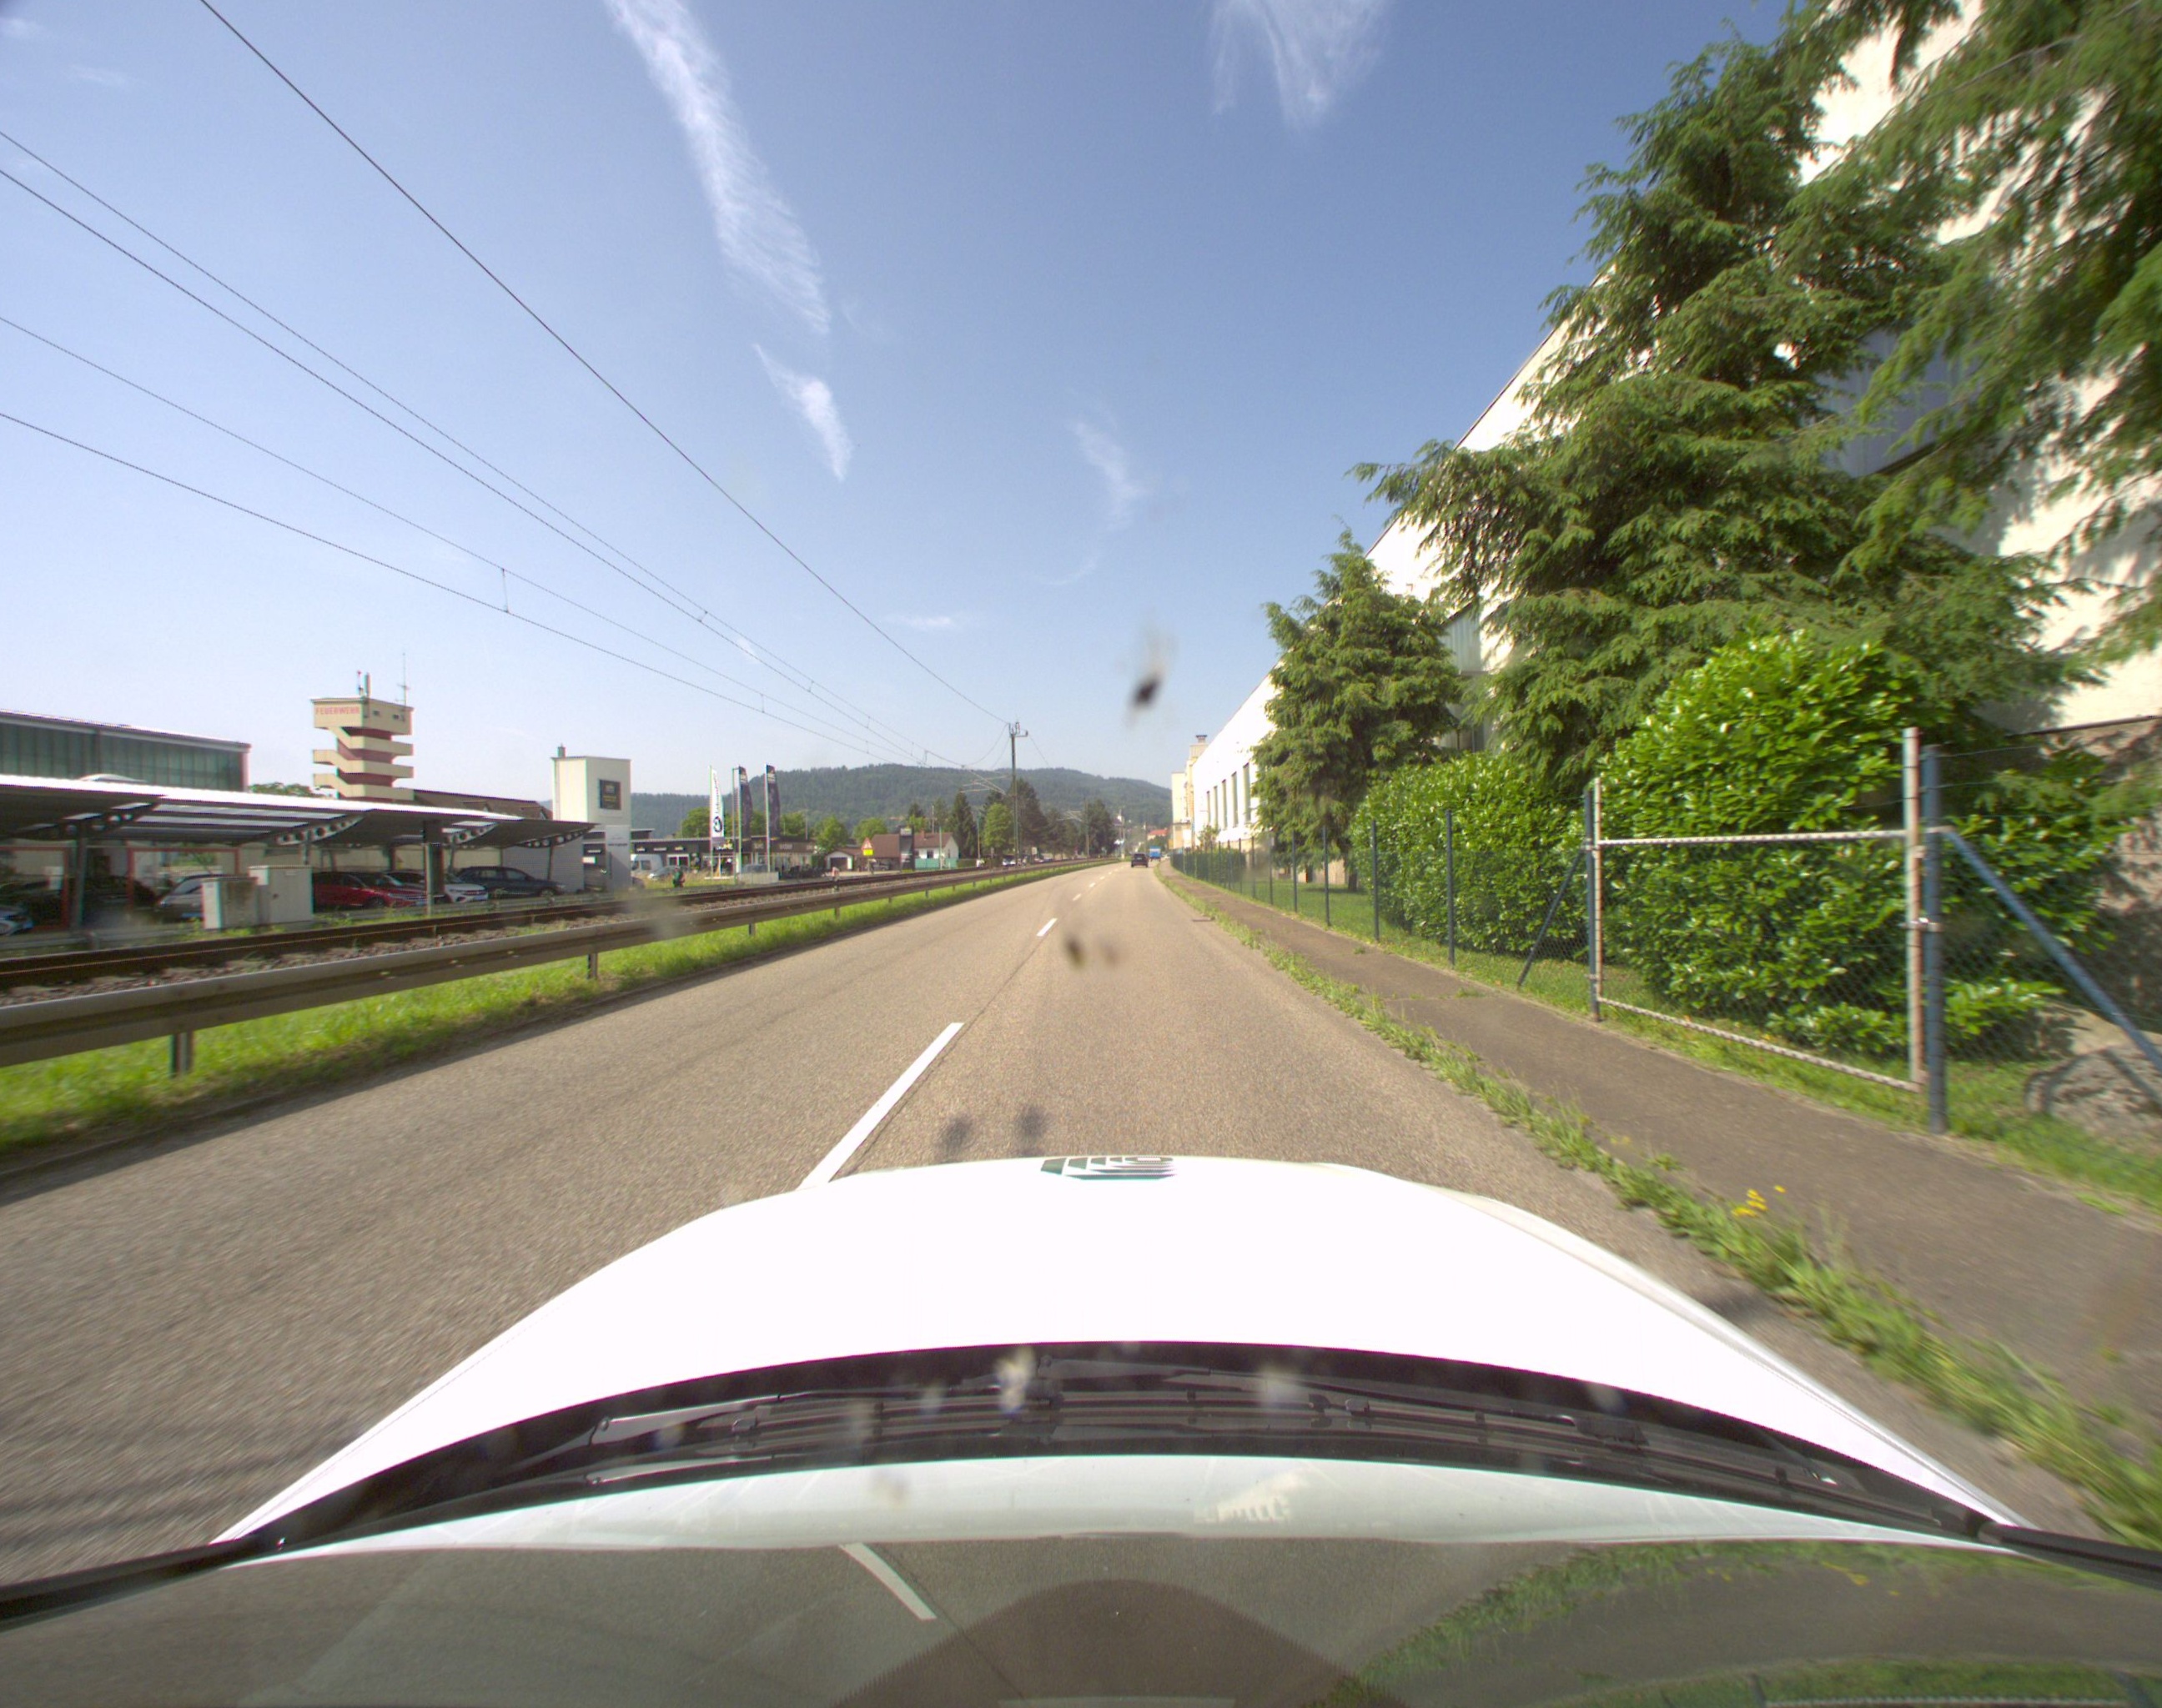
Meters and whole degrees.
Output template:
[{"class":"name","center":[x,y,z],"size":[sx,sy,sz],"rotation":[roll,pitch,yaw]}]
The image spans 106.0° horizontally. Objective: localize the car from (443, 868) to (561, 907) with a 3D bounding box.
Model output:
[{"class":"car","center":[-25.991,1.462,36.631],"size":[1.642,1.622,4.055],"rotation":[1,0,45]}]

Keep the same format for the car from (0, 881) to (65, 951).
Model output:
[{"class":"car","center":[-26.550,1.405,18.311],"size":[4.291,1.528,1.826],"rotation":[2,0,-38]}]

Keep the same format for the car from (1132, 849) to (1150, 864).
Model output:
[{"class":"car","center":[6.703,0.254,91.223],"size":[1.910,1.640,4.006],"rotation":[-1,0,5]}]

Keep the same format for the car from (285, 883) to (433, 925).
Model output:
[{"class":"car","center":[-25.960,1.790,29.349],"size":[3.943,1.325,1.502],"rotation":[1,0,0]}]

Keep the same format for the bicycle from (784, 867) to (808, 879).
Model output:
[{"class":"bicycle","center":[-28.855,1.887,82.473],"size":[2.158,1.130,0.731],"rotation":[-2,-1,3]}]

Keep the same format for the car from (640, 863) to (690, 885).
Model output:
[{"class":"car","center":[-32.565,1.582,63.868],"size":[1.861,1.664,4.000],"rotation":[-2,-2,1]}]

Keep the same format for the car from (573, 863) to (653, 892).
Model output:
[{"class":"car","center":[-27.871,1.436,48.528],"size":[4.013,1.530,1.508],"rotation":[4,-3,-32]}]

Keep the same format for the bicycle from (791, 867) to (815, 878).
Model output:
[{"class":"bicycle","center":[-28.782,1.927,84.292],"size":[2.165,1.130,0.728],"rotation":[-2,-1,-7]}]

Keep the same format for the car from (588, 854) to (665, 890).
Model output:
[{"class":"car","center":[-35.479,1.470,63.809],"size":[2.364,2.633,6.161],"rotation":[-2,-2,1]}]

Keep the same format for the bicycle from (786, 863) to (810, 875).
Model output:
[{"class":"bicycle","center":[-29.016,1.544,83.411],"size":[2.165,1.130,0.728],"rotation":[-2,-1,-7]}]

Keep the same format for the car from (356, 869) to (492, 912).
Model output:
[{"class":"car","center":[-25.860,1.431,32.128],"size":[3.943,1.528,1.663],"rotation":[1,0,0]}]

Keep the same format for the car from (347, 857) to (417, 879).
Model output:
[{"class":"car","center":[-43.039,0.845,50.222],"size":[1.450,1.298,3.482],"rotation":[-2,0,-4]}]

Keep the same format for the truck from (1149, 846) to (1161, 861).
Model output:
[{"class":"truck","center":[14.988,-0.059,164.531],"size":[2.301,2.970,5.976],"rotation":[-1,0,6]}]

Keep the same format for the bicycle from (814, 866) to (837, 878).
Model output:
[{"class":"bicycle","center":[-27.046,1.912,86.145],"size":[2.165,1.130,0.728],"rotation":[-2,-1,-7]}]

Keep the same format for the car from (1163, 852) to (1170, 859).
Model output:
[{"class":"car","center":[23.906,0.357,226.632],"size":[1.657,1.823,3.761],"rotation":[-1,0,9]}]

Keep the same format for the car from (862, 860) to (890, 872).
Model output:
[{"class":"car","center":[-32.023,1.883,127.136],"size":[3.816,1.651,1.716],"rotation":[-2,0,6]}]

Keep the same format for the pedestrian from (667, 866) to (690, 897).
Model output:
[{"class":"pedestrian","center":[-22.874,1.559,46.267],"size":[0.799,1.734,0.836],"rotation":[-2,0,2]}]

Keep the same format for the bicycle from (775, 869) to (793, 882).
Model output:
[{"class":"bicycle","center":[-29.019,2.090,79.640],"size":[0.724,1.130,2.178],"rotation":[-2,-1,6]}]

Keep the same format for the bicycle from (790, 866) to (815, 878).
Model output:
[{"class":"bicycle","center":[-27.226,1.763,79.653],"size":[0.721,1.130,2.337],"rotation":[-2,-1,38]}]

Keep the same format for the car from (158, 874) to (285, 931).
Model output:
[{"class":"car","center":[-26.237,1.402,25.028],"size":[1.855,1.505,4.386],"rotation":[-1,0,-35]}]

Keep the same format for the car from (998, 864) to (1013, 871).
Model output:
[{"class":"car","center":[-17.053,2.969,183.363],"size":[1.695,1.443,3.810],"rotation":[-1,-1,-36]}]

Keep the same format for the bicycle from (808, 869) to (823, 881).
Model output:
[{"class":"bicycle","center":[-26.898,2.142,82.547],"size":[0.725,1.130,2.175],"rotation":[-2,-1,2]}]

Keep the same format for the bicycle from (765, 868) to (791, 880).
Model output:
[{"class":"bicycle","center":[-28.694,1.881,77.152],"size":[2.158,1.130,0.731],"rotation":[-2,-1,3]}]
